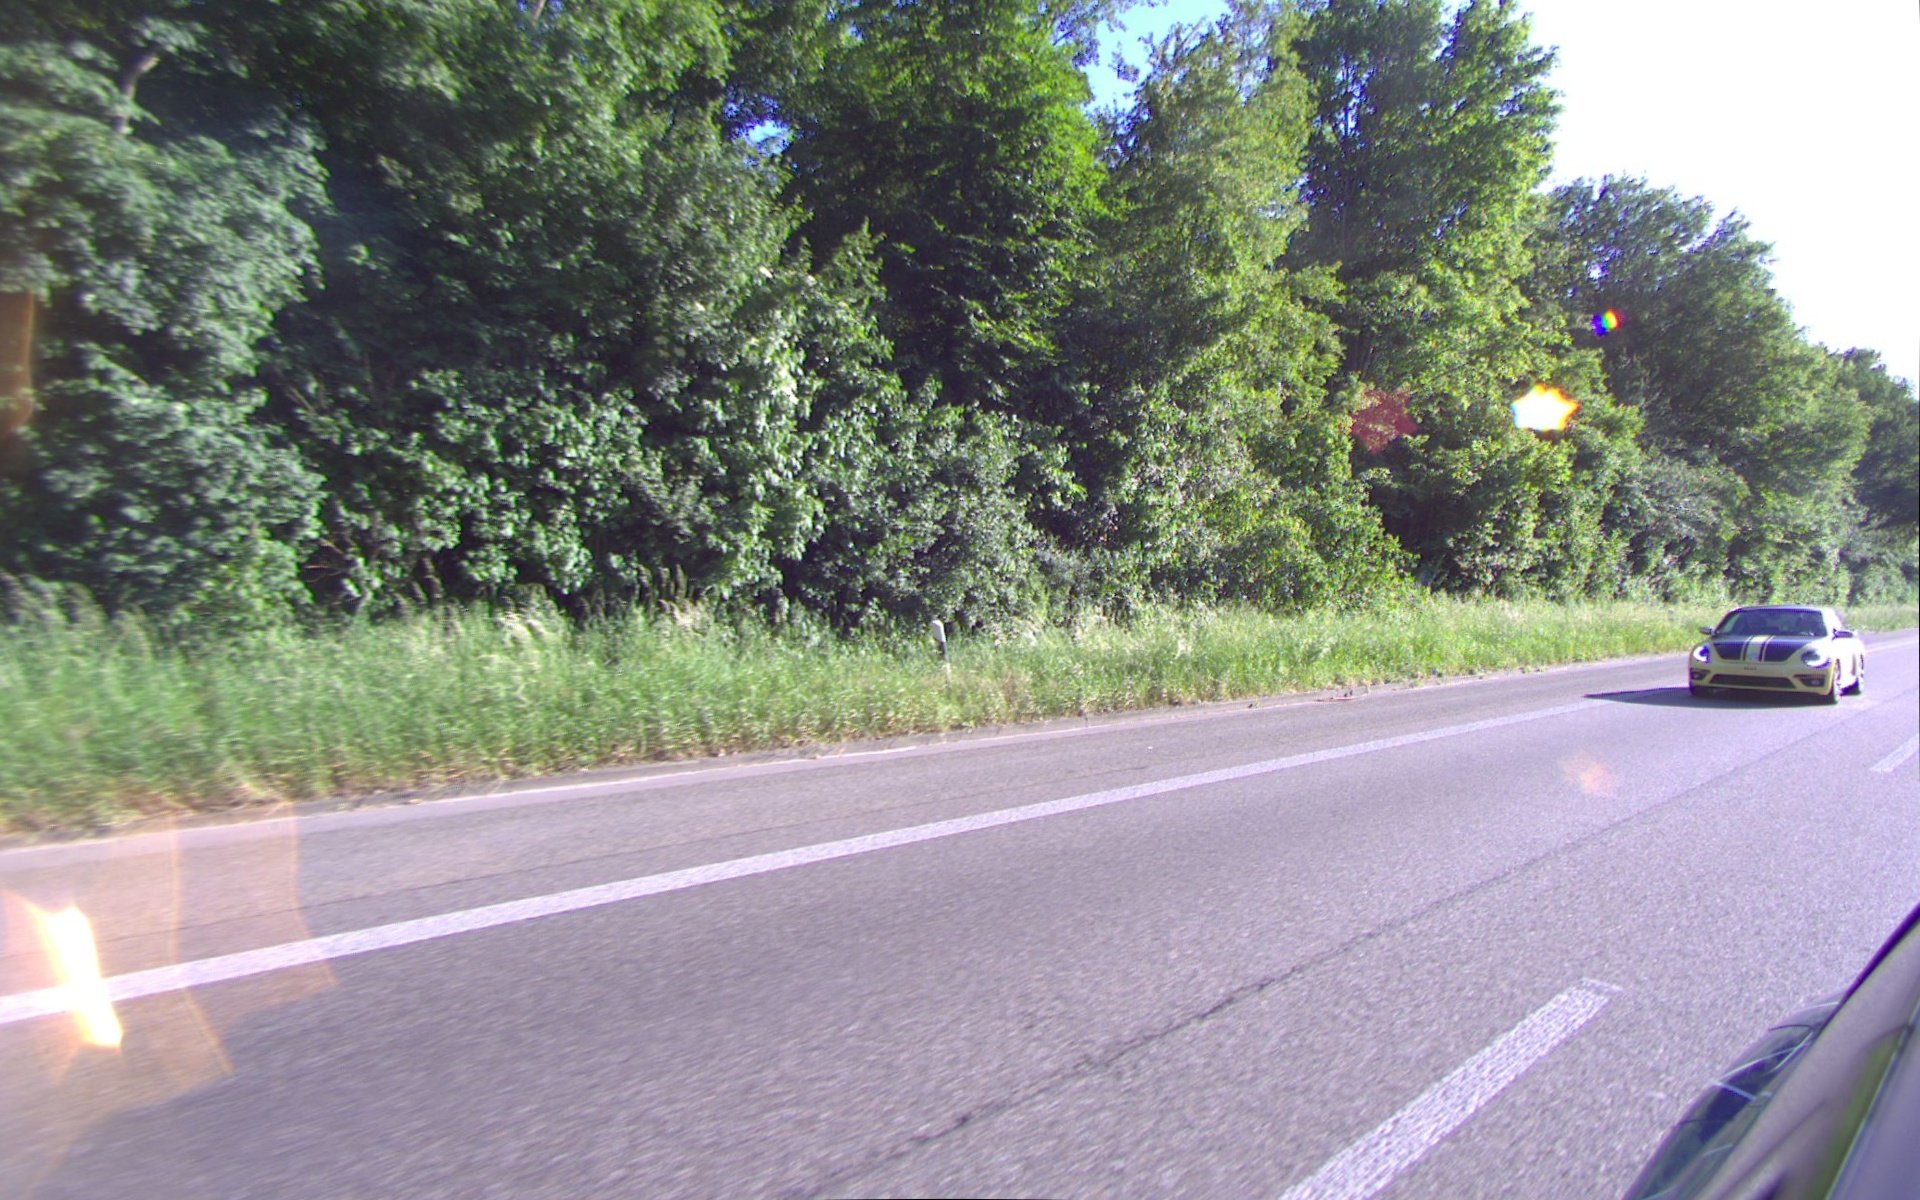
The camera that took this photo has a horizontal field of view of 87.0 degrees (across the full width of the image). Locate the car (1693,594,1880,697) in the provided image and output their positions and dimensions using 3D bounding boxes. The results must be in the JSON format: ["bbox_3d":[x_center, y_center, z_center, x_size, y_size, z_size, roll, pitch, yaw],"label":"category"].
[{"bbox_3d":[13.433,0.637,16.375,3.811,1.467,1.792,0,0,-42],"label":"car"}]
